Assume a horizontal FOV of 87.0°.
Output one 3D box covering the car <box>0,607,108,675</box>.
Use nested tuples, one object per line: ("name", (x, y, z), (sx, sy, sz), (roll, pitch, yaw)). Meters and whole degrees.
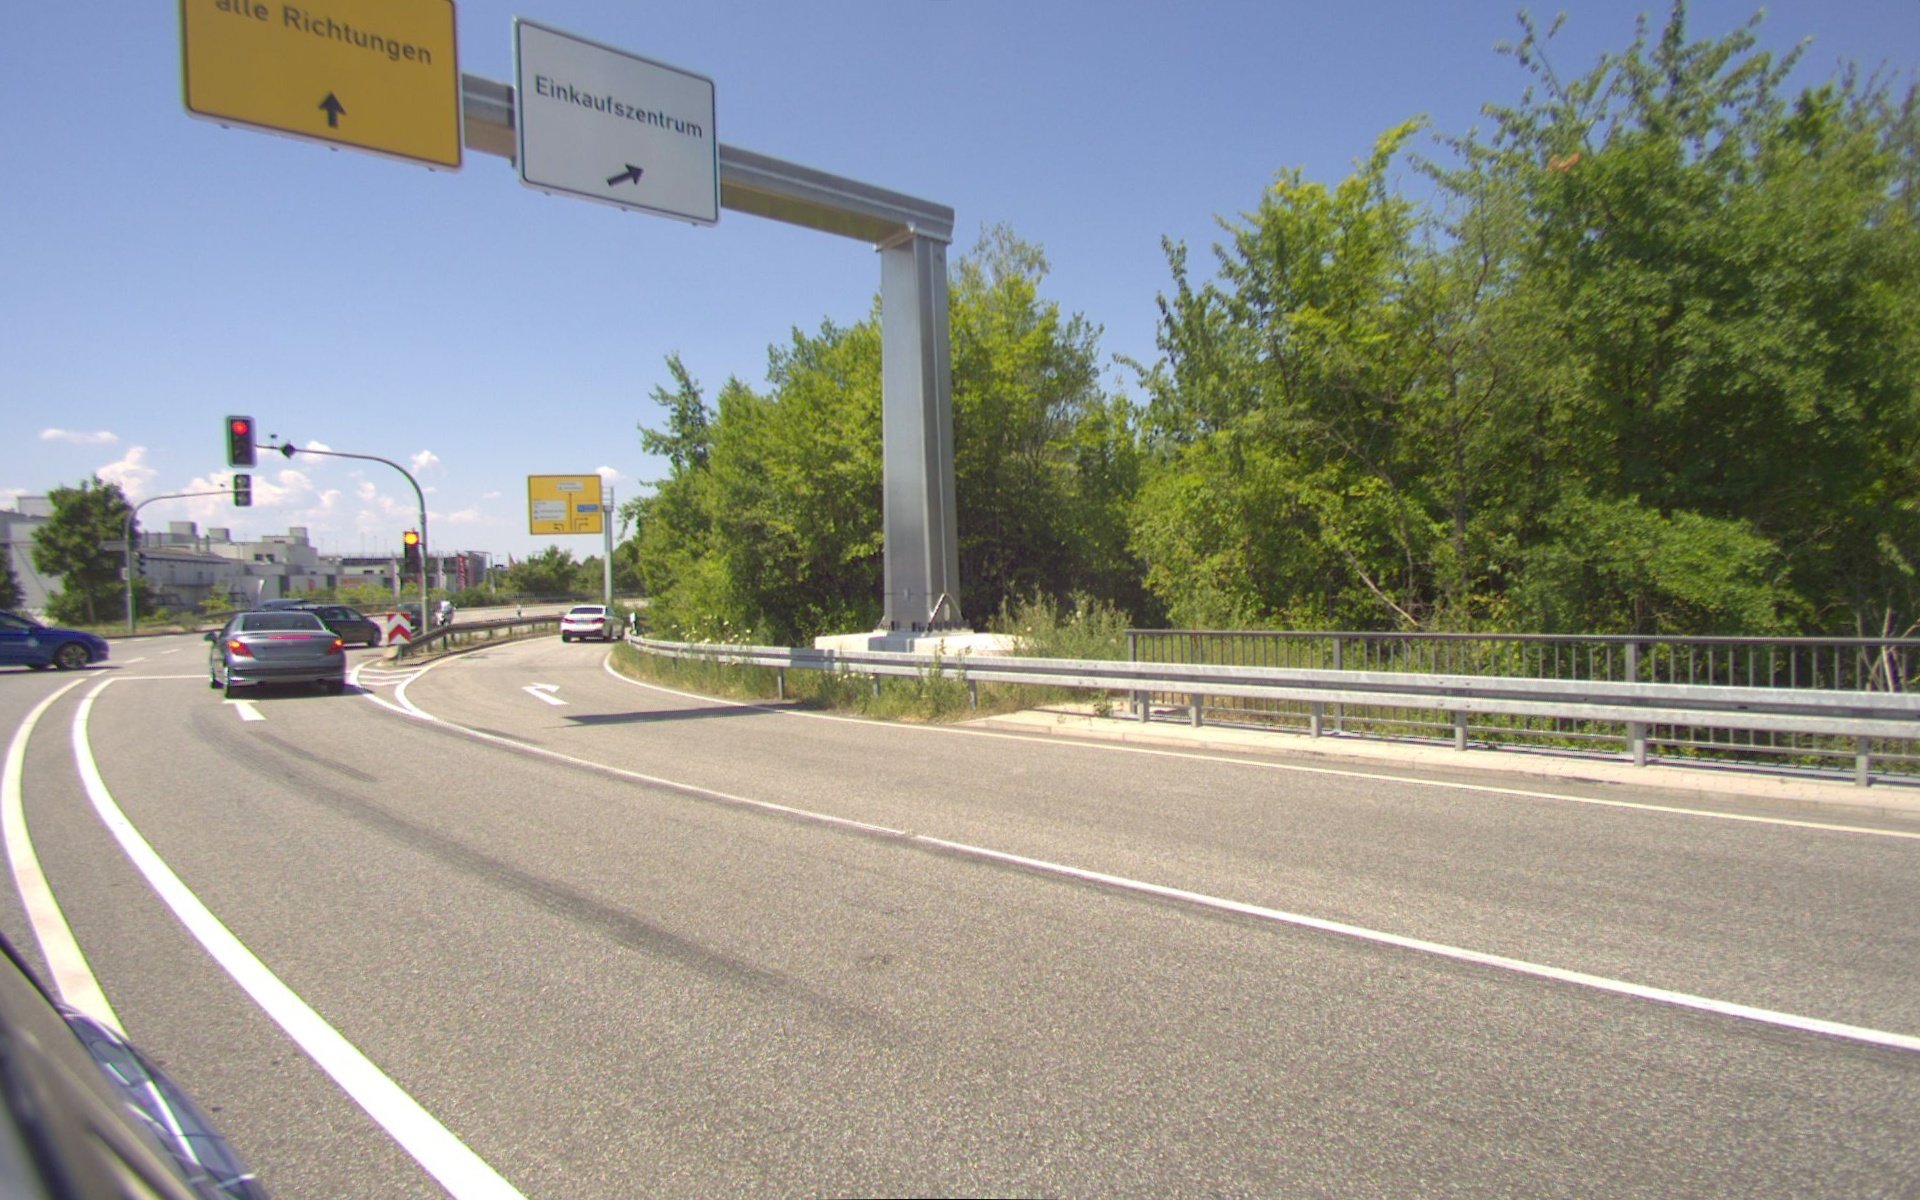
("car", (-21.541, 0.879, 21.917), (1.707, 1.473, 4.443), (0, -1, 30))

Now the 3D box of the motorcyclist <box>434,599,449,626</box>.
("motorcyclist", (-30.723, 0.739, 59.922), (0.603, 1.551, 0.849), (0, 0, -14))

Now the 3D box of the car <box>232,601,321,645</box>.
("car", (-26.853, 0.869, 39.898), (1.849, 1.613, 4.520), (0, 0, -20))

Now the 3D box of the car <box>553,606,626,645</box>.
("car", (-15.101, 1.050, 41.492), (1.814, 1.495, 4.845), (1, -1, -8))

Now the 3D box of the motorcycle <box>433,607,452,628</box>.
("motorcycle", (-30.696, 1.038, 60.015), (0.568, 1.248, 1.946), (0, 0, -14))

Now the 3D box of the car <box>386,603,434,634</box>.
("car", (-27.932, 0.927, 51.474), (1.596, 1.418, 3.311), (2, 0, -19))

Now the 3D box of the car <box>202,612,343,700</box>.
("car", (-12.161, 0.923, 17.808), (1.625, 1.362, 3.975), (2, -2, -40))

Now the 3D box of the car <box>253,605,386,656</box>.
("car", (-21.075, 0.942, 33.516), (1.757, 1.493, 4.432), (2, 0, -3))
